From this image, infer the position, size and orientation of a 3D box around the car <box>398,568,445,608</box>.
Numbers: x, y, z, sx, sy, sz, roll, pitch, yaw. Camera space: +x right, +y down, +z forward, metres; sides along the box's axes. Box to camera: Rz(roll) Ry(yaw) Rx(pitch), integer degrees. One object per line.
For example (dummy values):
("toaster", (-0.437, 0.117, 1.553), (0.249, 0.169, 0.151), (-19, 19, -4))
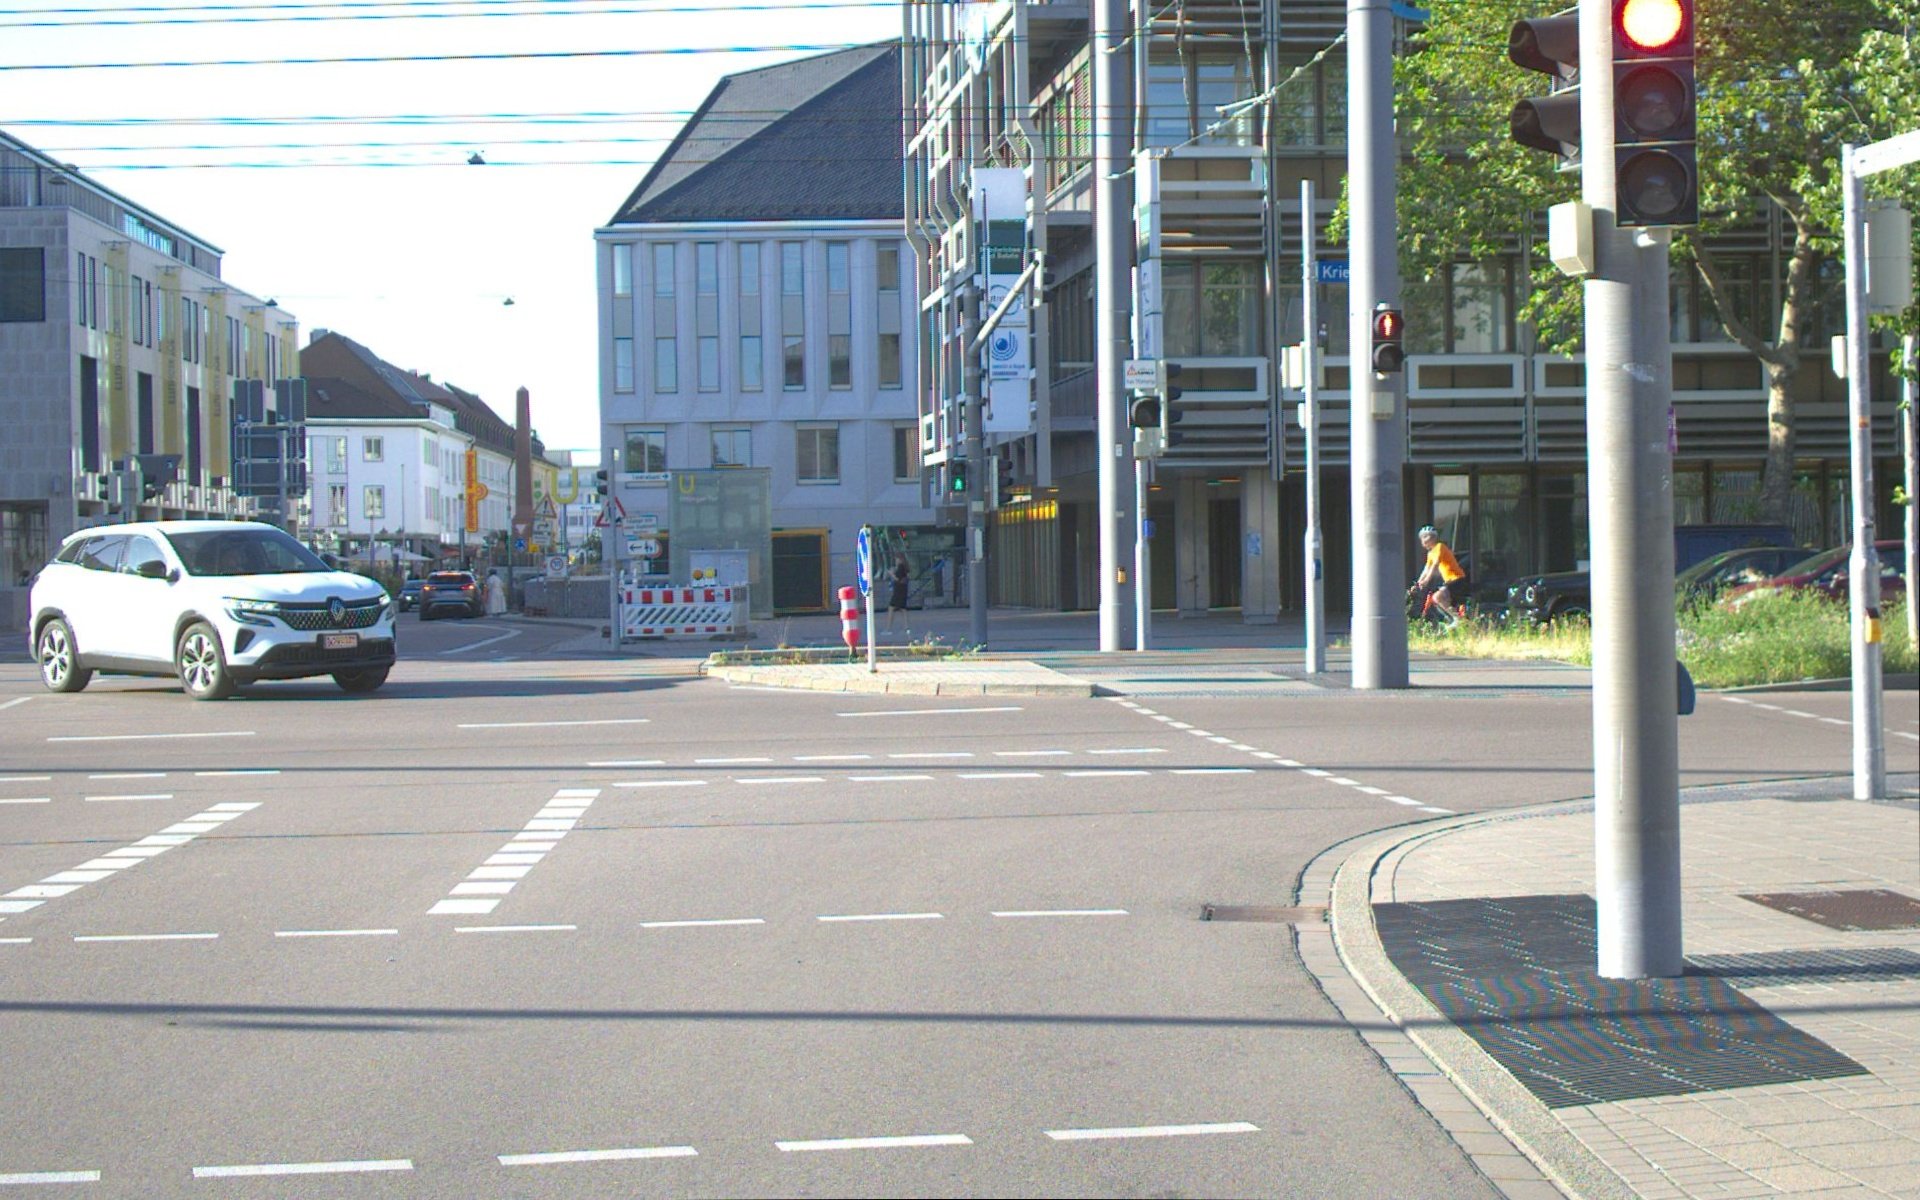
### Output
("car", (-25.006, -0.548, 159.748), (1.756, 1.777, 4.001), (-1, 1, -4))

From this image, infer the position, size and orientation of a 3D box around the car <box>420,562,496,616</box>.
("car", (-15.809, -0.354, 108.426), (2.199, 1.601, 4.327), (-1, 1, -6))

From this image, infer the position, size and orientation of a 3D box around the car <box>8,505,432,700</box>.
("car", (-6.953, -0.042, 32.015), (1.994, 1.654, 4.404), (-2, 3, -40))

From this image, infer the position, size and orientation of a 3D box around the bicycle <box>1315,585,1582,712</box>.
("bicycle", (6.696, 0.648, 47.151), (3.490, 1.653, 0.932), (-1, 1, -9))

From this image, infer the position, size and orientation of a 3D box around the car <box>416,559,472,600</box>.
("car", (-21.768, -0.873, 145.181), (1.993, 1.654, 4.407), (-2, 1, -4))

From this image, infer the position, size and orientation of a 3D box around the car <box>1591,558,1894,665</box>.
("car", (11.496, 0.156, 50.666), (3.986, 1.503, 1.868), (0, 1, -3))

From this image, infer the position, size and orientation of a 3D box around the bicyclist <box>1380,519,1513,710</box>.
("bicyclist", (6.664, 0.188, 47.145), (1.567, 2.571, 0.932), (-1, 1, -9))

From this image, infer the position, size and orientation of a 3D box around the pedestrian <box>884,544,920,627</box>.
("pedestrian", (-1.174, -0.304, 69.463), (0.663, 1.652, 0.755), (-1, 1, -3))

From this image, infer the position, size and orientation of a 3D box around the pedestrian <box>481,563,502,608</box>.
("pedestrian", (-14.785, -0.460, 108.519), (0.609, 1.406, 0.570), (-1, 1, -6))

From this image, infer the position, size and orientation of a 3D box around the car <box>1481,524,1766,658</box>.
("car", (10.347, -0.145, 53.783), (3.986, 2.007, 2.000), (1, 0, -3))

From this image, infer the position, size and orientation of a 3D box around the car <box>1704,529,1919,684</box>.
("car", (12.290, 0.086, 46.415), (3.986, 2.007, 2.000), (1, 0, -3))
